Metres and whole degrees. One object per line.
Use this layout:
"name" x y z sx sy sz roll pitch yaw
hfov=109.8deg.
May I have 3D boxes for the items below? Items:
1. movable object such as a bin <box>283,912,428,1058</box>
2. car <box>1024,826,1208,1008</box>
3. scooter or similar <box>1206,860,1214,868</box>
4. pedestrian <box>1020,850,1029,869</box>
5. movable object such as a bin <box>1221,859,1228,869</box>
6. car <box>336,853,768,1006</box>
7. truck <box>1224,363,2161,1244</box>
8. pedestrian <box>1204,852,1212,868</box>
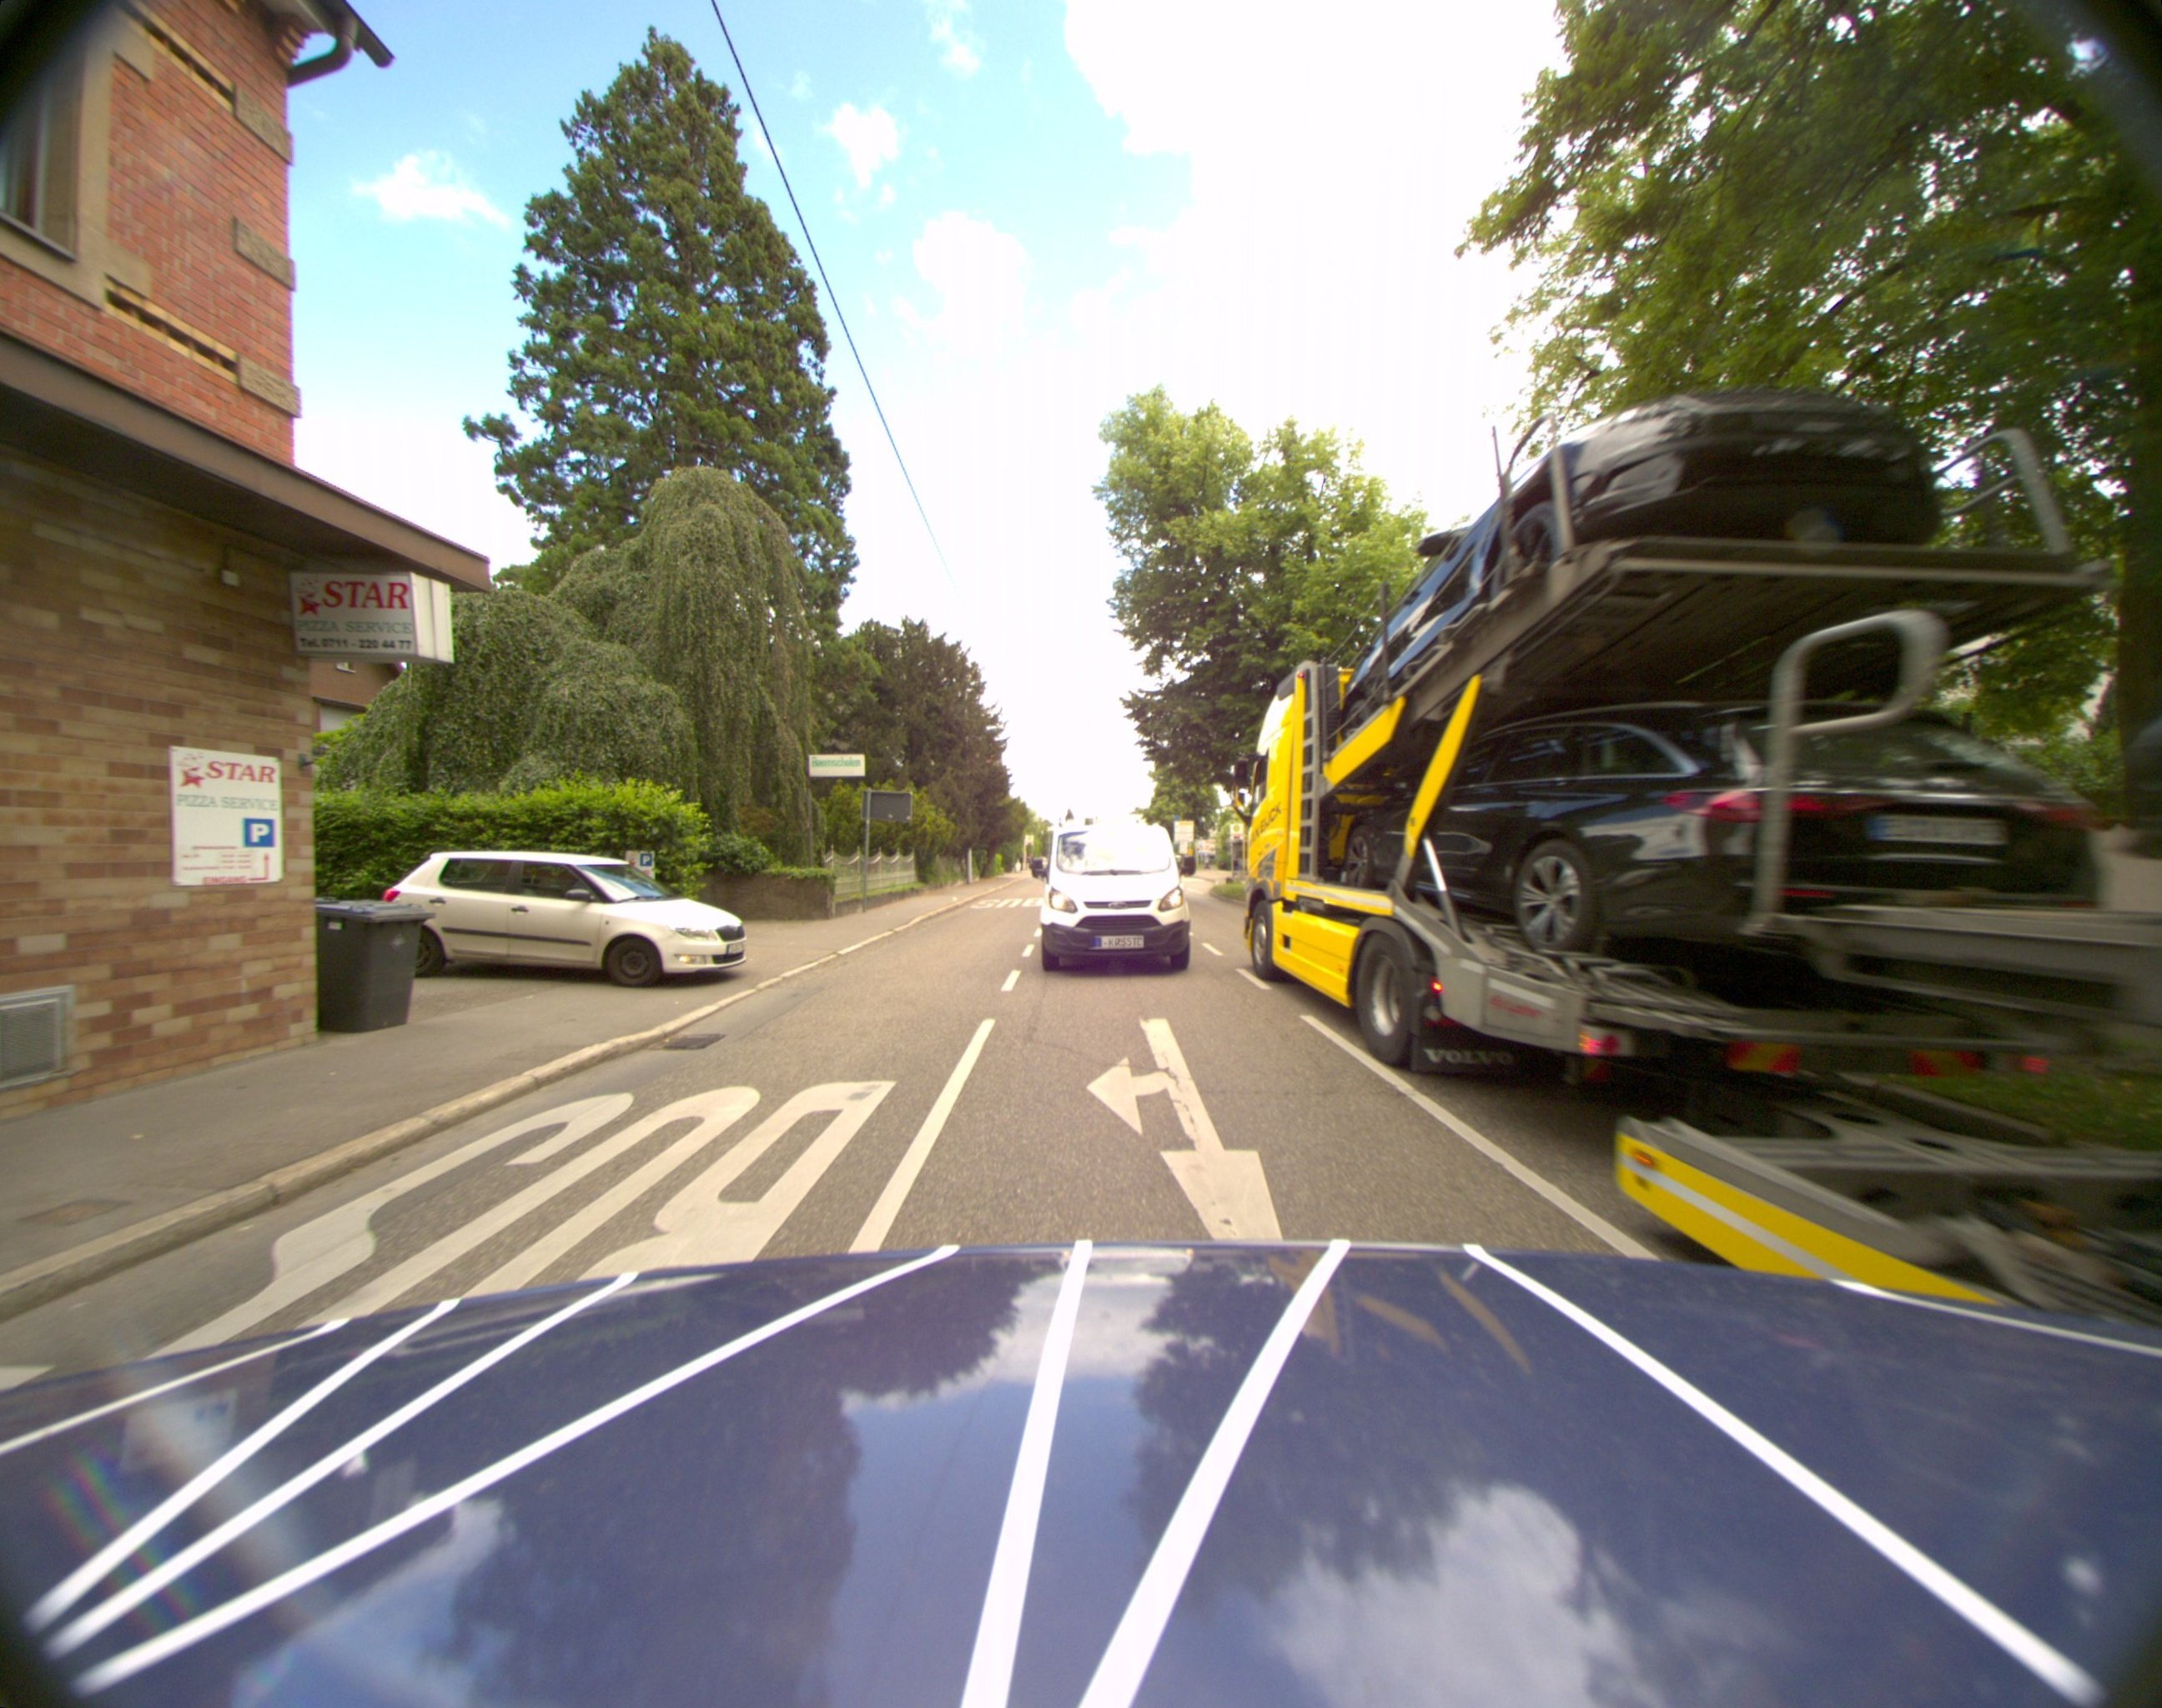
"movable object such as a bin" -6.021 1.062 6.336 0.608 1.094 0.622 1 1 0
"car" 0.345 0.659 11.279 1.999 1.961 5.713 -2 1 -1
"scooter or similar" 12.622 0.965 74.286 0.607 0.782 0.860 -1 1 17
"pedestrian" -5.302 0.495 71.047 0.488 1.757 0.672 -1 2 32
"movable object such as a bin" 13.783 0.978 72.974 0.566 0.922 0.608 -1 1 16
"car" -6.209 0.845 9.261 4.039 1.462 1.600 3 1 -2
"truck" 3.477 -0.243 7.142 2.851 3.761 7.668 -2 1 1
"pedestrian" 12.607 0.573 75.216 0.672 1.549 0.520 -1 1 17
